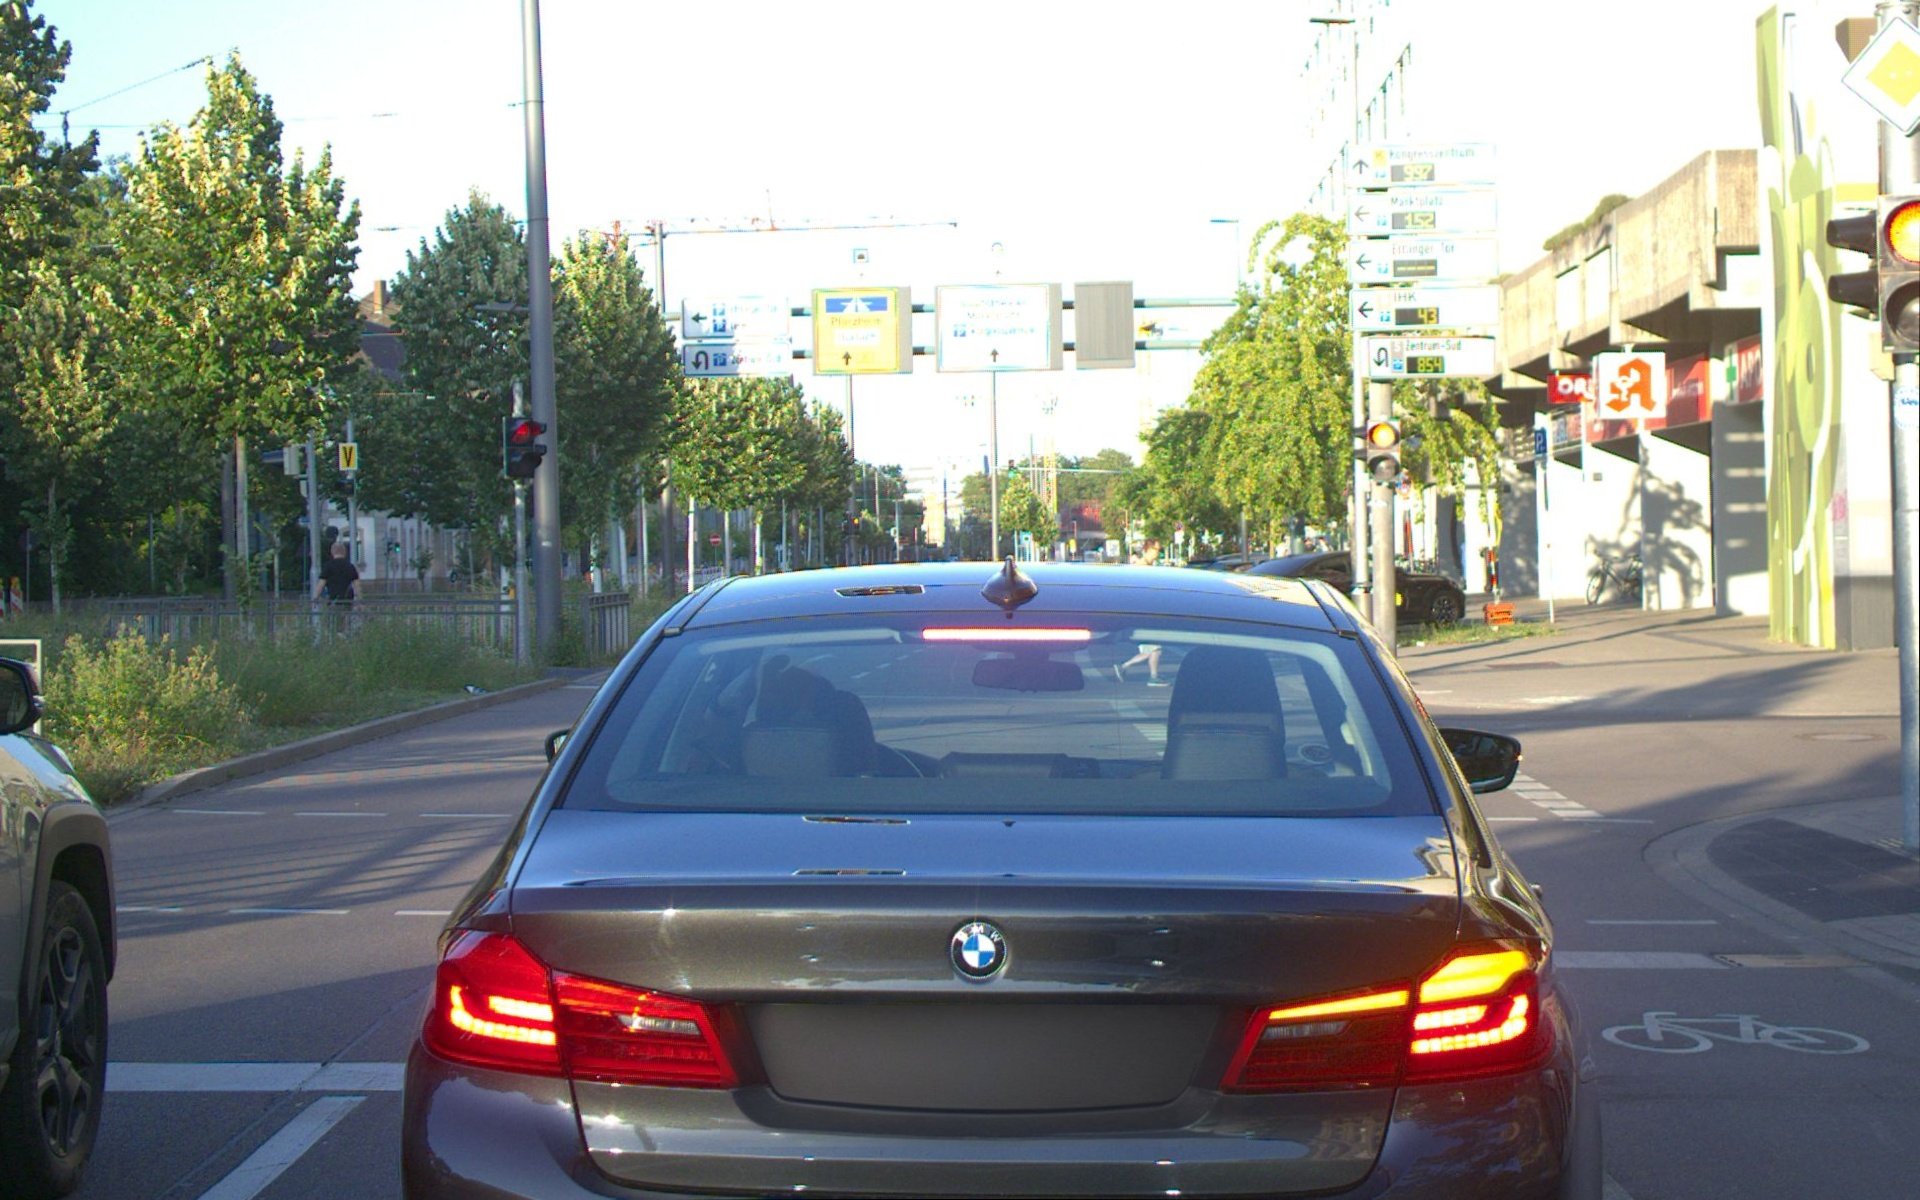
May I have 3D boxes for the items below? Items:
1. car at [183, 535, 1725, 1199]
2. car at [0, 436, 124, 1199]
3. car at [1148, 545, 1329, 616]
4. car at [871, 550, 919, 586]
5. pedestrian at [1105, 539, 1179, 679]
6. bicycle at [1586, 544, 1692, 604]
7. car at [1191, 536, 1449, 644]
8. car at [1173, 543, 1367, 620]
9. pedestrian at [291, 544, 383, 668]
[{"bbox_3d":[0.037,0.652,6.586,1.932,1.476,4.522,0,2,1],"label":"car"},{"bbox_3d":[-2.889,0.516,6.208,1.854,1.653,4.269,0,2,-2],"label":"car"},{"bbox_3d":[6.914,-0.510,85.153,4.255,1.653,1.860,-1,2,-35],"label":"car"},{"bbox_3d":[-2.758,-1.388,146.946,1.979,1.428,4.843,0,2,0],"label":"car"},{"bbox_3d":[2.266,0.108,42.803,0.835,1.706,0.648,-1,1,-1],"label":"pedestrian"},{"bbox_3d":[13.614,-0.521,68.967,2.017,1.145,0.690,2,0,7],"label":"bicycle"},{"bbox_3d":[5.957,-0.203,56.637,4.256,1.653,1.860,-2,3,-42],"label":"car"},{"bbox_3d":[7.136,-0.451,79.008,4.255,1.653,1.860,-1,2,-35],"label":"car"},{"bbox_3d":[-8.088,0.071,44.651,0.810,1.581,0.837,-2,1,-44],"label":"pedestrian"}]
